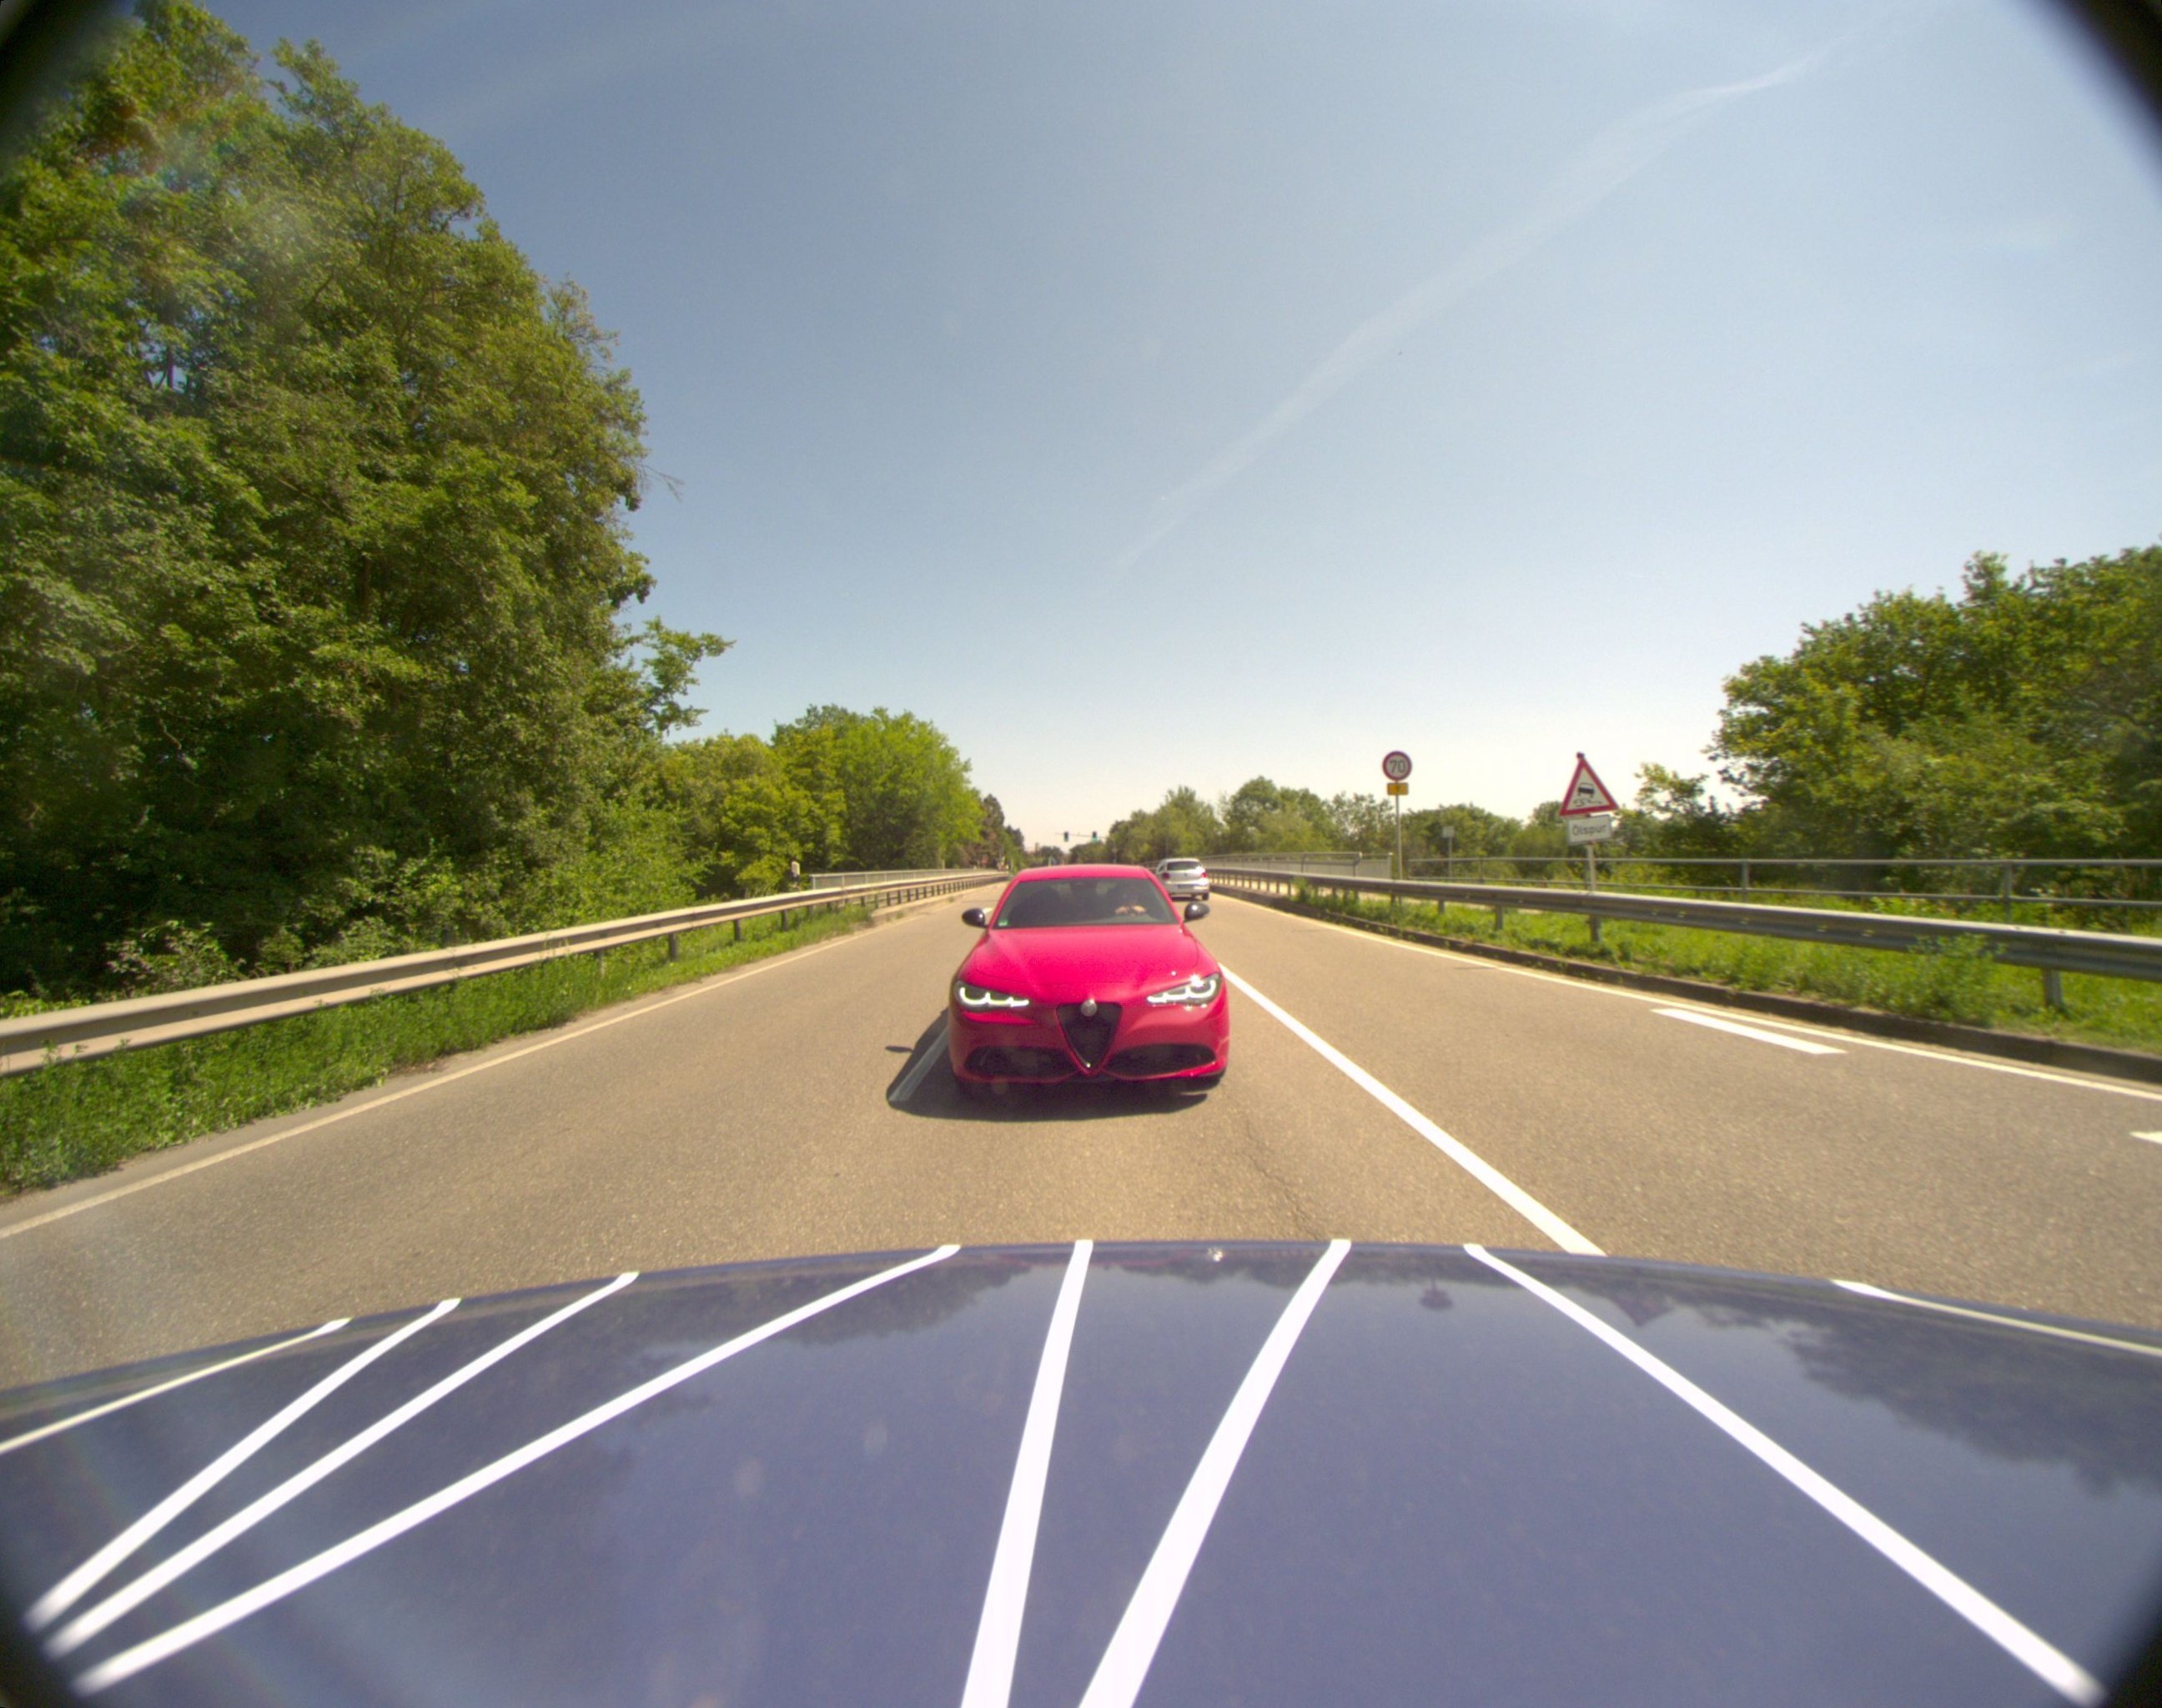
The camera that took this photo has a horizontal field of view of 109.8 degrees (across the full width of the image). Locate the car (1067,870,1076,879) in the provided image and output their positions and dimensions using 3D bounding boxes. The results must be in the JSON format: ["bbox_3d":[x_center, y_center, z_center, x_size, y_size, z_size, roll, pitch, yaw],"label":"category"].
[{"bbox_3d":[-1.948,4.328,162.927,1.848,1.758,4.000,-1,0,0],"label":"car"}]

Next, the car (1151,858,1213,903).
[{"bbox_3d":[3.484,0.877,26.789,1.648,1.410,3.766,-2,0,0],"label":"car"}]

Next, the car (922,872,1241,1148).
[{"bbox_3d":[-0.006,0.946,6.497,1.800,1.448,4.284,-1,0,0],"label":"car"}]

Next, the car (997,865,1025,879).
[{"bbox_3d":[-10.659,2.665,115.623,3.988,2.002,2.004,0,1,44],"label":"car"}]

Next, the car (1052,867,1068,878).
[{"bbox_3d":[-2.938,2.630,106.358,1.801,1.448,3.704,-1,0,-7],"label":"car"}]

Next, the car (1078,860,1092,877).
[{"bbox_3d":[0.631,2.193,116.224,1.995,2.354,5.181,-2,0,0],"label":"car"}]

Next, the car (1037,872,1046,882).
[{"bbox_3d":[-6.693,3.917,129.474,1.416,1.499,3.316,-1,0,-1],"label":"car"}]

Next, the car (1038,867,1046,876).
[{"bbox_3d":[-7.618,3.349,147.513,1.476,1.565,3.487,-1,1,-3],"label":"car"}]
